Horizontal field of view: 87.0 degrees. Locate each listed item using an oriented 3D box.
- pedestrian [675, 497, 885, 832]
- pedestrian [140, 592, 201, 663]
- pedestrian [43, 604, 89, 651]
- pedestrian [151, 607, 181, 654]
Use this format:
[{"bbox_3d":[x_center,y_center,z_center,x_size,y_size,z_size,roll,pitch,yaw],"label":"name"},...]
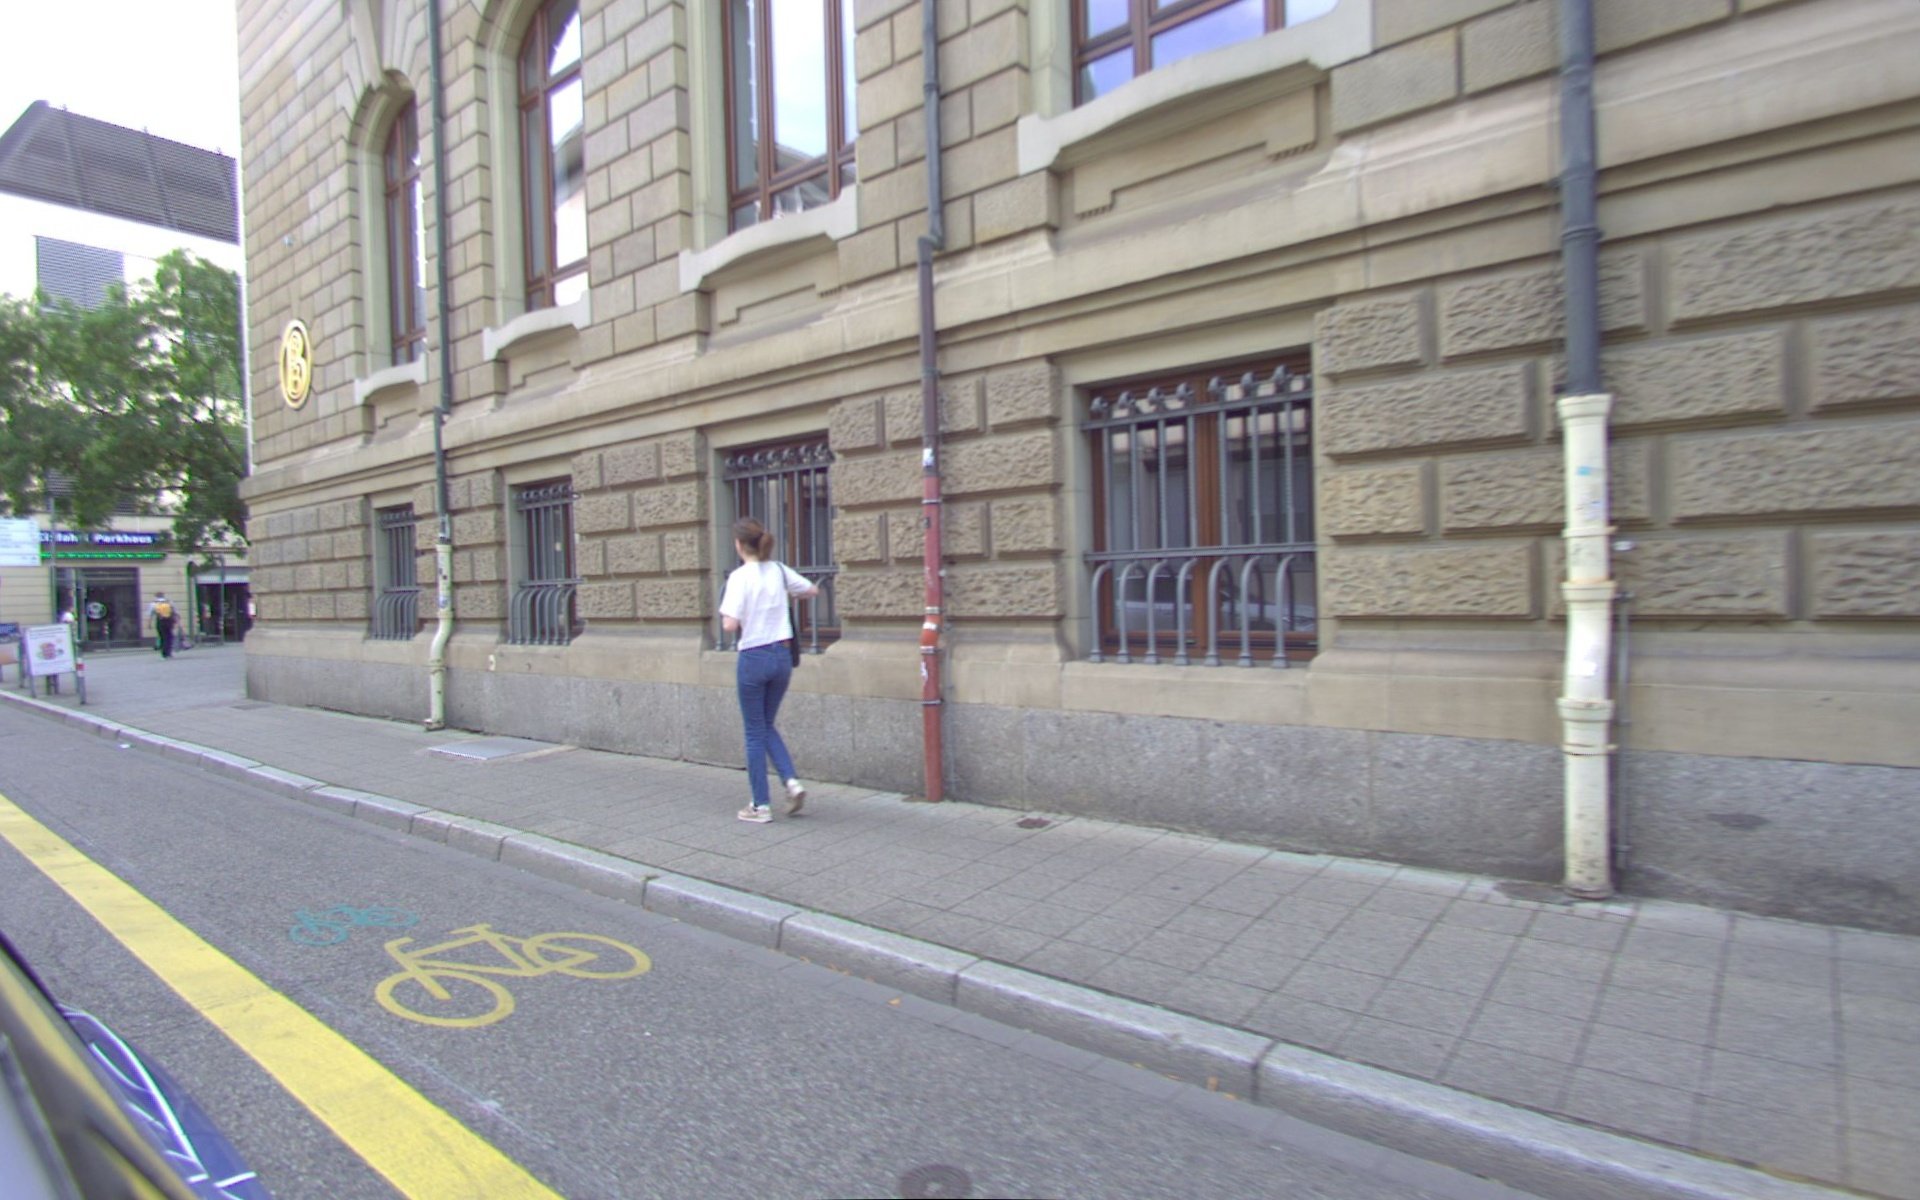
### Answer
[{"bbox_3d":[-1.091,0.342,6.105,1.047,1.833,0.657,-1,3,40],"label":"pedestrian"},{"bbox_3d":[-20.491,0.698,26.272,0.818,1.732,1.016,-1,3,39],"label":"pedestrian"},{"bbox_3d":[-35.730,1.075,40.454,0.890,1.778,1.050,-1,3,31],"label":"pedestrian"},{"bbox_3d":[-32.342,1.238,41.219,0.857,1.844,0.642,-1,1,26],"label":"pedestrian"}]
